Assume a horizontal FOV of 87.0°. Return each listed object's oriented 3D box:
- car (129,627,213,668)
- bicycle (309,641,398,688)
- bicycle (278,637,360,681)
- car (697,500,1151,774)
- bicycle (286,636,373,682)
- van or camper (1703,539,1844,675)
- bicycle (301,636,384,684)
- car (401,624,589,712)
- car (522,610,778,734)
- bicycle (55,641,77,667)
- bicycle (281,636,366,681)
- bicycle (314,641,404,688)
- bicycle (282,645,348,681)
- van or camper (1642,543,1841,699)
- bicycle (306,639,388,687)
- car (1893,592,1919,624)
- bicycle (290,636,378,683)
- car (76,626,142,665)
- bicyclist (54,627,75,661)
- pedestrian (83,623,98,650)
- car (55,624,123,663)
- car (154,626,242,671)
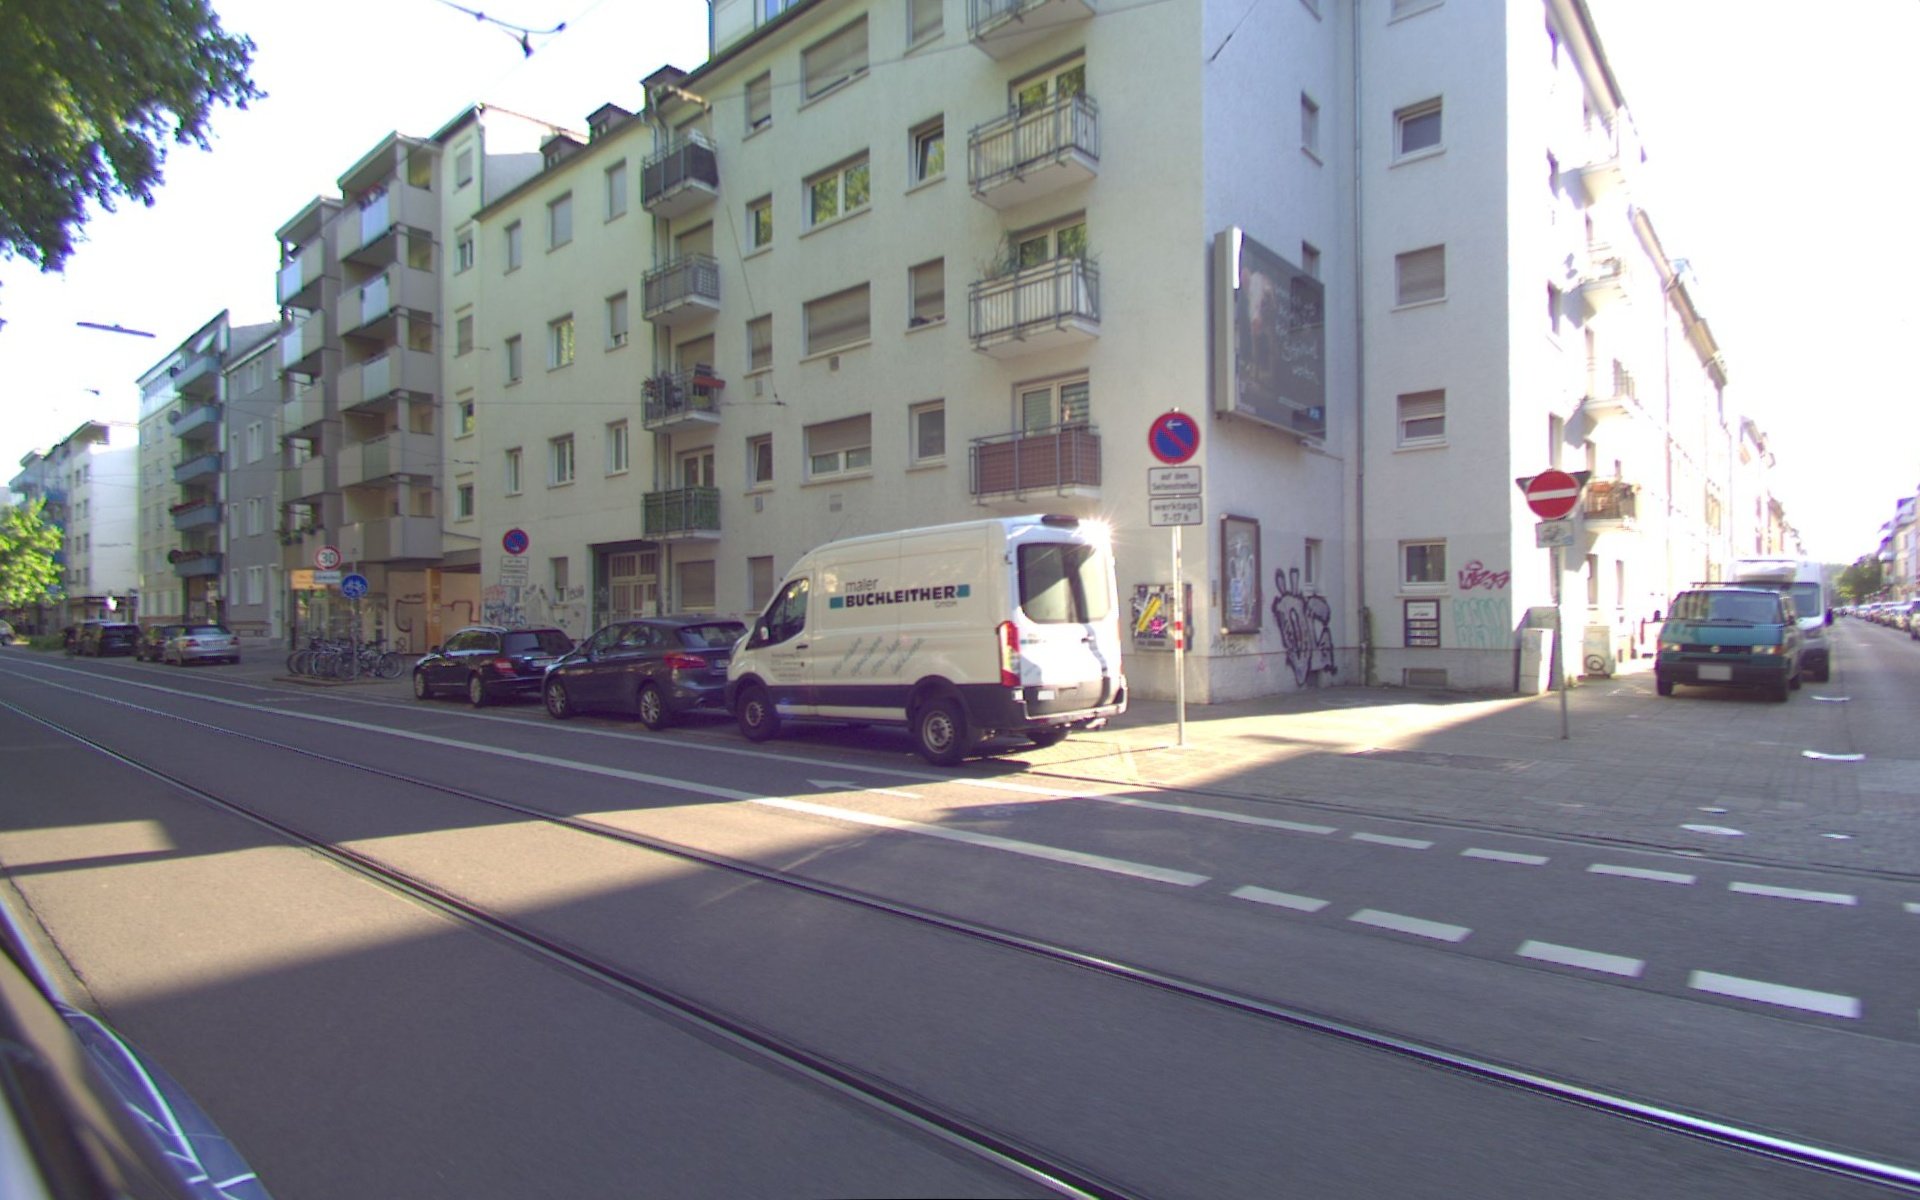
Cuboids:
[{"bbox_3d":[-30.686,1.813,39.322,4.237,1.502,1.775,-2,-1,40],"label":"car"},{"bbox_3d":[-15.343,1.621,25.649,1.871,1.045,0.402,-2,0,-42],"label":"bicycle"},{"bbox_3d":[-17.885,1.632,28.256,1.871,1.127,0.402,-2,0,-42],"label":"bicycle"},{"bbox_3d":[-0.709,0.400,12.115,5.667,2.555,2.042,-2,-1,43],"label":"car"},{"bbox_3d":[-17.067,1.577,27.416,1.937,1.127,0.440,-2,0,-42],"label":"bicycle"},{"bbox_3d":[18.532,0.192,22.979,2.156,2.690,5.929,-3,-2,41],"label":"van or camper"},{"bbox_3d":[-16.217,1.556,26.607,1.797,1.127,0.425,-2,0,-42],"label":"bicycle"},{"bbox_3d":[-8.992,1.216,19.386,4.572,1.467,1.699,-2,-1,43],"label":"car"},{"bbox_3d":[-4.866,1.006,15.576,4.344,1.644,1.701,-1,-1,40],"label":"car"},{"bbox_3d":[-36.614,2.205,41.429,1.946,1.026,0.412,-1,-3,42],"label":"bicycle"},{"bbox_3d":[-17.454,1.587,27.792,1.907,1.127,0.440,-2,0,-42],"label":"bicycle"},{"bbox_3d":[-14.955,1.594,25.231,1.871,1.045,0.402,-2,0,-42],"label":"bicycle"},{"bbox_3d":[-18.278,1.769,28.695,0.400,0.924,1.610,-1,0,25],"label":"bicycle"},{"bbox_3d":[14.053,0.357,18.077,5.042,2.405,2.023,1,-2,-44],"label":"van or camper"},{"bbox_3d":[-15.872,1.622,26.239,1.767,1.127,0.425,-2,0,-42],"label":"bicycle"},{"bbox_3d":[53.791,0.457,56.949,1.775,1.698,3.903,-1,0,44],"label":"car"},{"bbox_3d":[-16.726,1.569,27.067,1.944,1.127,0.425,-2,0,-42],"label":"bicycle"},{"bbox_3d":[-38.894,2.044,46.236,4.199,1.612,1.639,-2,0,41],"label":"car"},{"bbox_3d":[-36.899,1.816,41.711,0.709,1.405,0.503,-2,-3,41],"label":"bicyclist"},{"bbox_3d":[-62.728,2.635,73.012,0.762,1.913,0.800,-1,0,-41],"label":"pedestrian"},{"bbox_3d":[-42.803,2.089,49.706,4.485,1.751,1.762,-2,0,39],"label":"car"},{"bbox_3d":[-27.103,1.677,35.954,4.727,1.502,1.671,-2,-1,42],"label":"car"}]
